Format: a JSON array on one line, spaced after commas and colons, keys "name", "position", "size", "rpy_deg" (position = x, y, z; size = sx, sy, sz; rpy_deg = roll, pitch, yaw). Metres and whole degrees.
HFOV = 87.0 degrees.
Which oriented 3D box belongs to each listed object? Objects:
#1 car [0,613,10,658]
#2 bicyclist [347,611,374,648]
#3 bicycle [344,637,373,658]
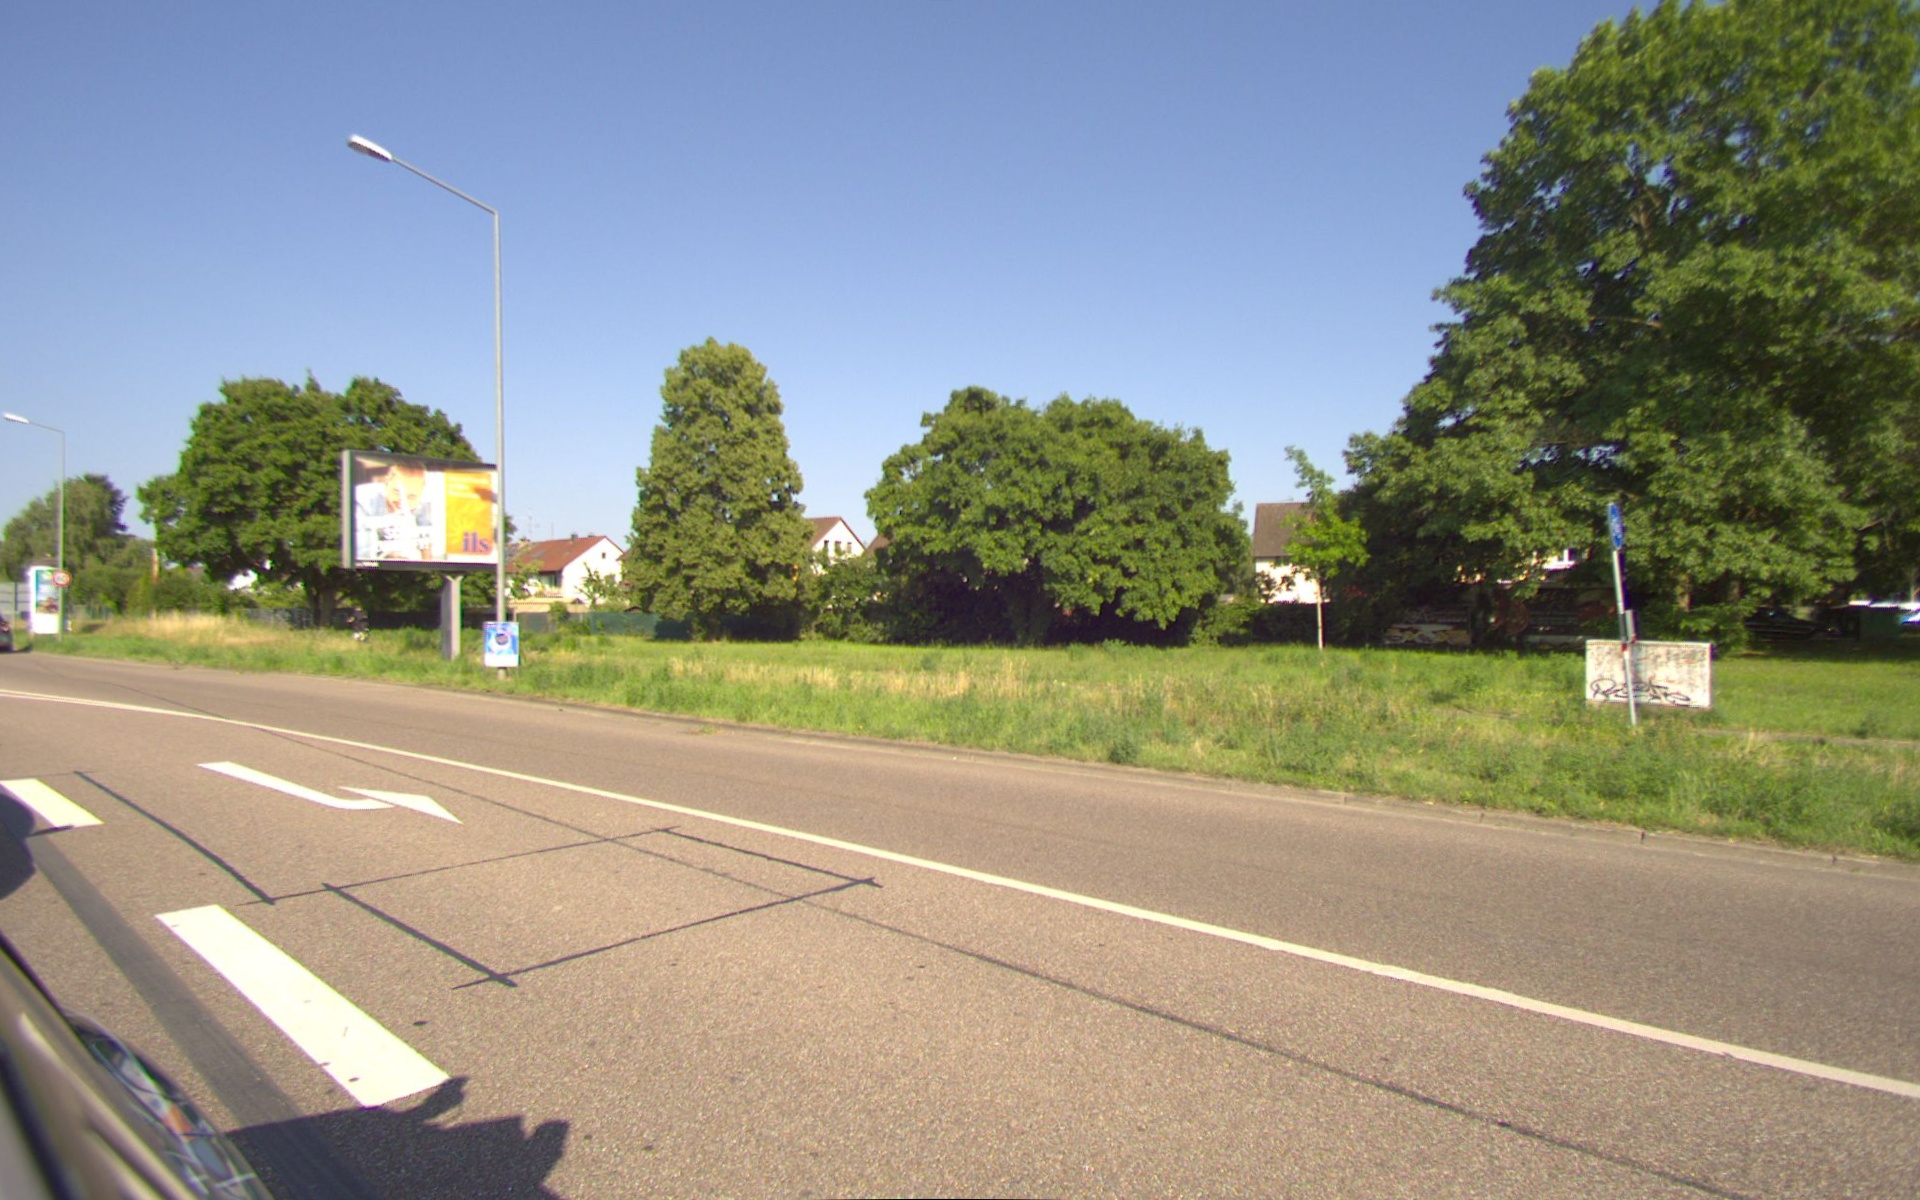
[{"name": "car", "position": [-35.638, 1.265, 36.472], "size": [3.673, 1.572, 1.616], "rpy_deg": [-1, -1, 40]}, {"name": "bicyclist", "position": [-23.664, 1.142, 39.918], "size": [1.071, 1.439, 0.630], "rpy_deg": [-1, -1, 42]}, {"name": "bicycle", "position": [-23.730, 1.868, 39.919], "size": [1.833, 0.759, 0.449], "rpy_deg": [-1, -1, 41]}]
